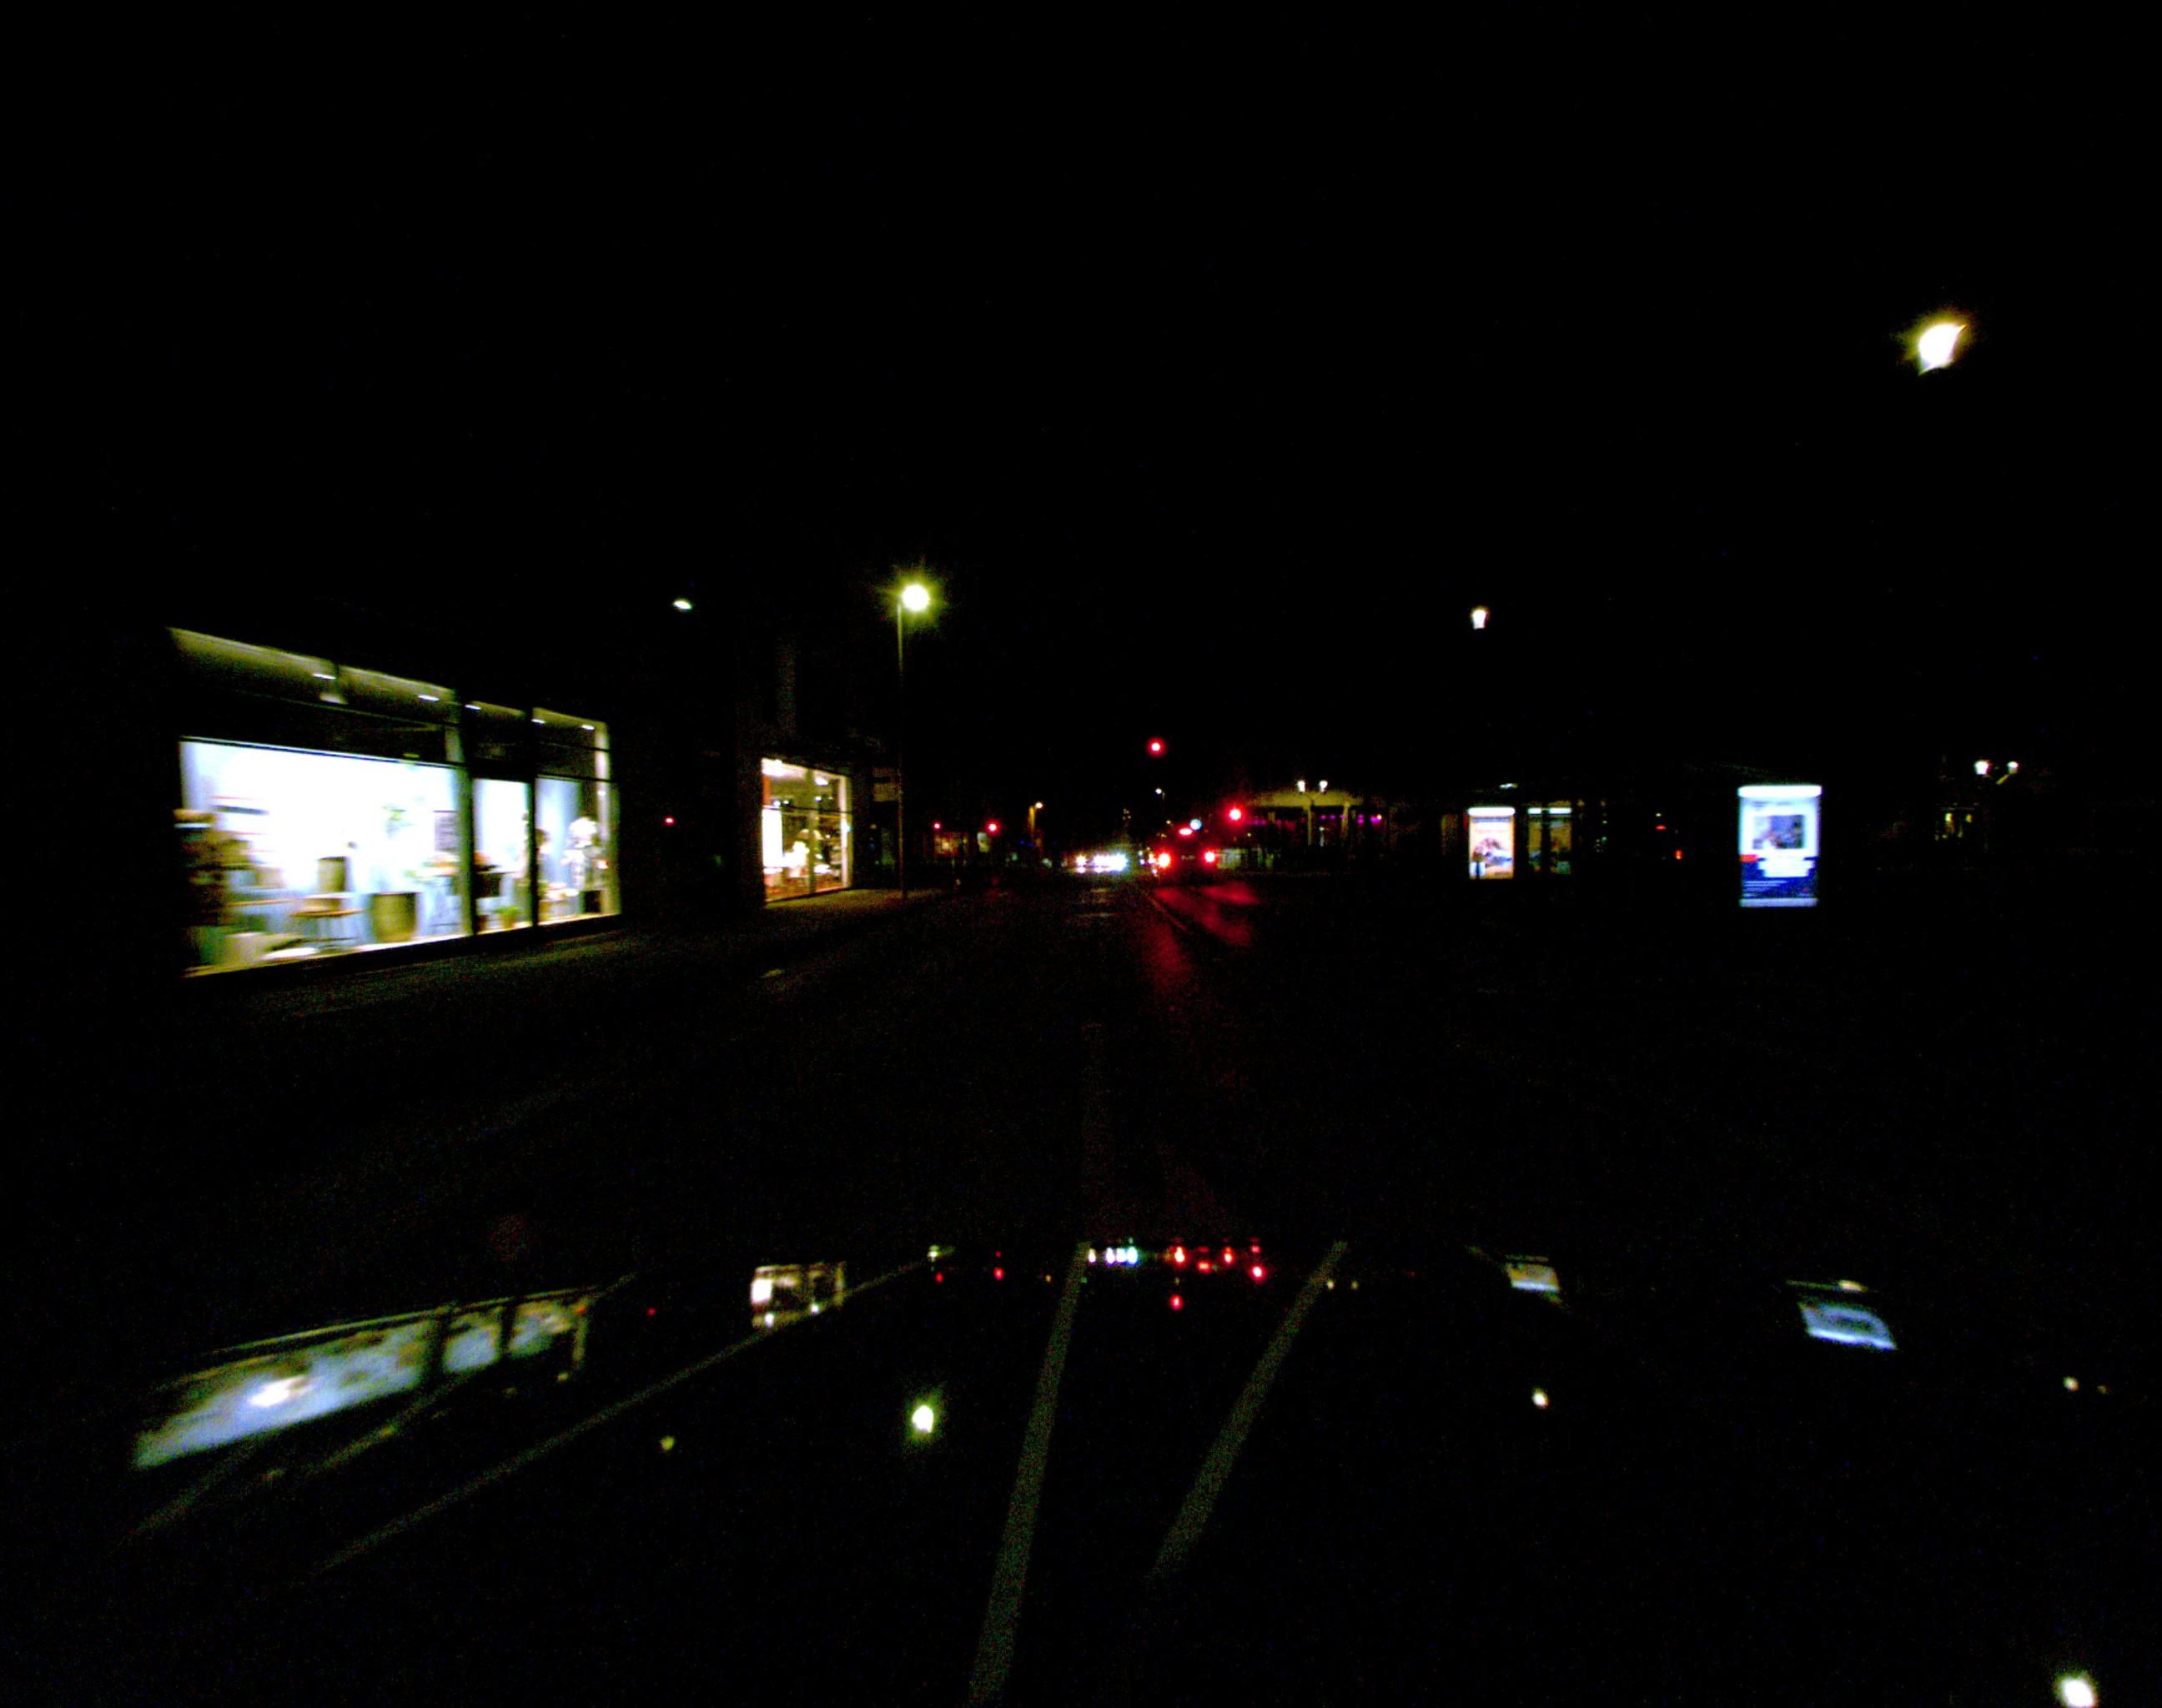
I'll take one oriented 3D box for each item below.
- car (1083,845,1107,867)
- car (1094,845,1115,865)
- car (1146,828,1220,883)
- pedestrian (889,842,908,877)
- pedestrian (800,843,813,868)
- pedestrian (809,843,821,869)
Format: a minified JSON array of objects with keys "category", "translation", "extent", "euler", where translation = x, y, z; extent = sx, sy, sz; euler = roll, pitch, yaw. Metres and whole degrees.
[{"category":"car","translation":[1.152,0.170,62.534],"extent":[1.713,1.660,3.738],"euler":[-2,1,4]},{"category":"car","translation":[2.142,0.056,69.697],"extent":[1.878,1.718,3.999],"euler":[-2,1,1]},{"category":"car","translation":[3.690,0.009,28.436],"extent":[1.972,1.861,4.910],"euler":[-1,1,-1]},{"category":"pedestrian","translation":[-8.804,0.254,36.575],"extent":[0.539,1.672,0.648],"euler":[-1,2,23]},{"category":"pedestrian","translation":[-18.772,0.093,51.915],"extent":[0.566,1.707,0.567],"euler":[-2,2,7]},{"category":"pedestrian","translation":[-18.181,0.133,51.889],"extent":[0.524,1.707,0.567],"euler":[-2,2,6]}]
